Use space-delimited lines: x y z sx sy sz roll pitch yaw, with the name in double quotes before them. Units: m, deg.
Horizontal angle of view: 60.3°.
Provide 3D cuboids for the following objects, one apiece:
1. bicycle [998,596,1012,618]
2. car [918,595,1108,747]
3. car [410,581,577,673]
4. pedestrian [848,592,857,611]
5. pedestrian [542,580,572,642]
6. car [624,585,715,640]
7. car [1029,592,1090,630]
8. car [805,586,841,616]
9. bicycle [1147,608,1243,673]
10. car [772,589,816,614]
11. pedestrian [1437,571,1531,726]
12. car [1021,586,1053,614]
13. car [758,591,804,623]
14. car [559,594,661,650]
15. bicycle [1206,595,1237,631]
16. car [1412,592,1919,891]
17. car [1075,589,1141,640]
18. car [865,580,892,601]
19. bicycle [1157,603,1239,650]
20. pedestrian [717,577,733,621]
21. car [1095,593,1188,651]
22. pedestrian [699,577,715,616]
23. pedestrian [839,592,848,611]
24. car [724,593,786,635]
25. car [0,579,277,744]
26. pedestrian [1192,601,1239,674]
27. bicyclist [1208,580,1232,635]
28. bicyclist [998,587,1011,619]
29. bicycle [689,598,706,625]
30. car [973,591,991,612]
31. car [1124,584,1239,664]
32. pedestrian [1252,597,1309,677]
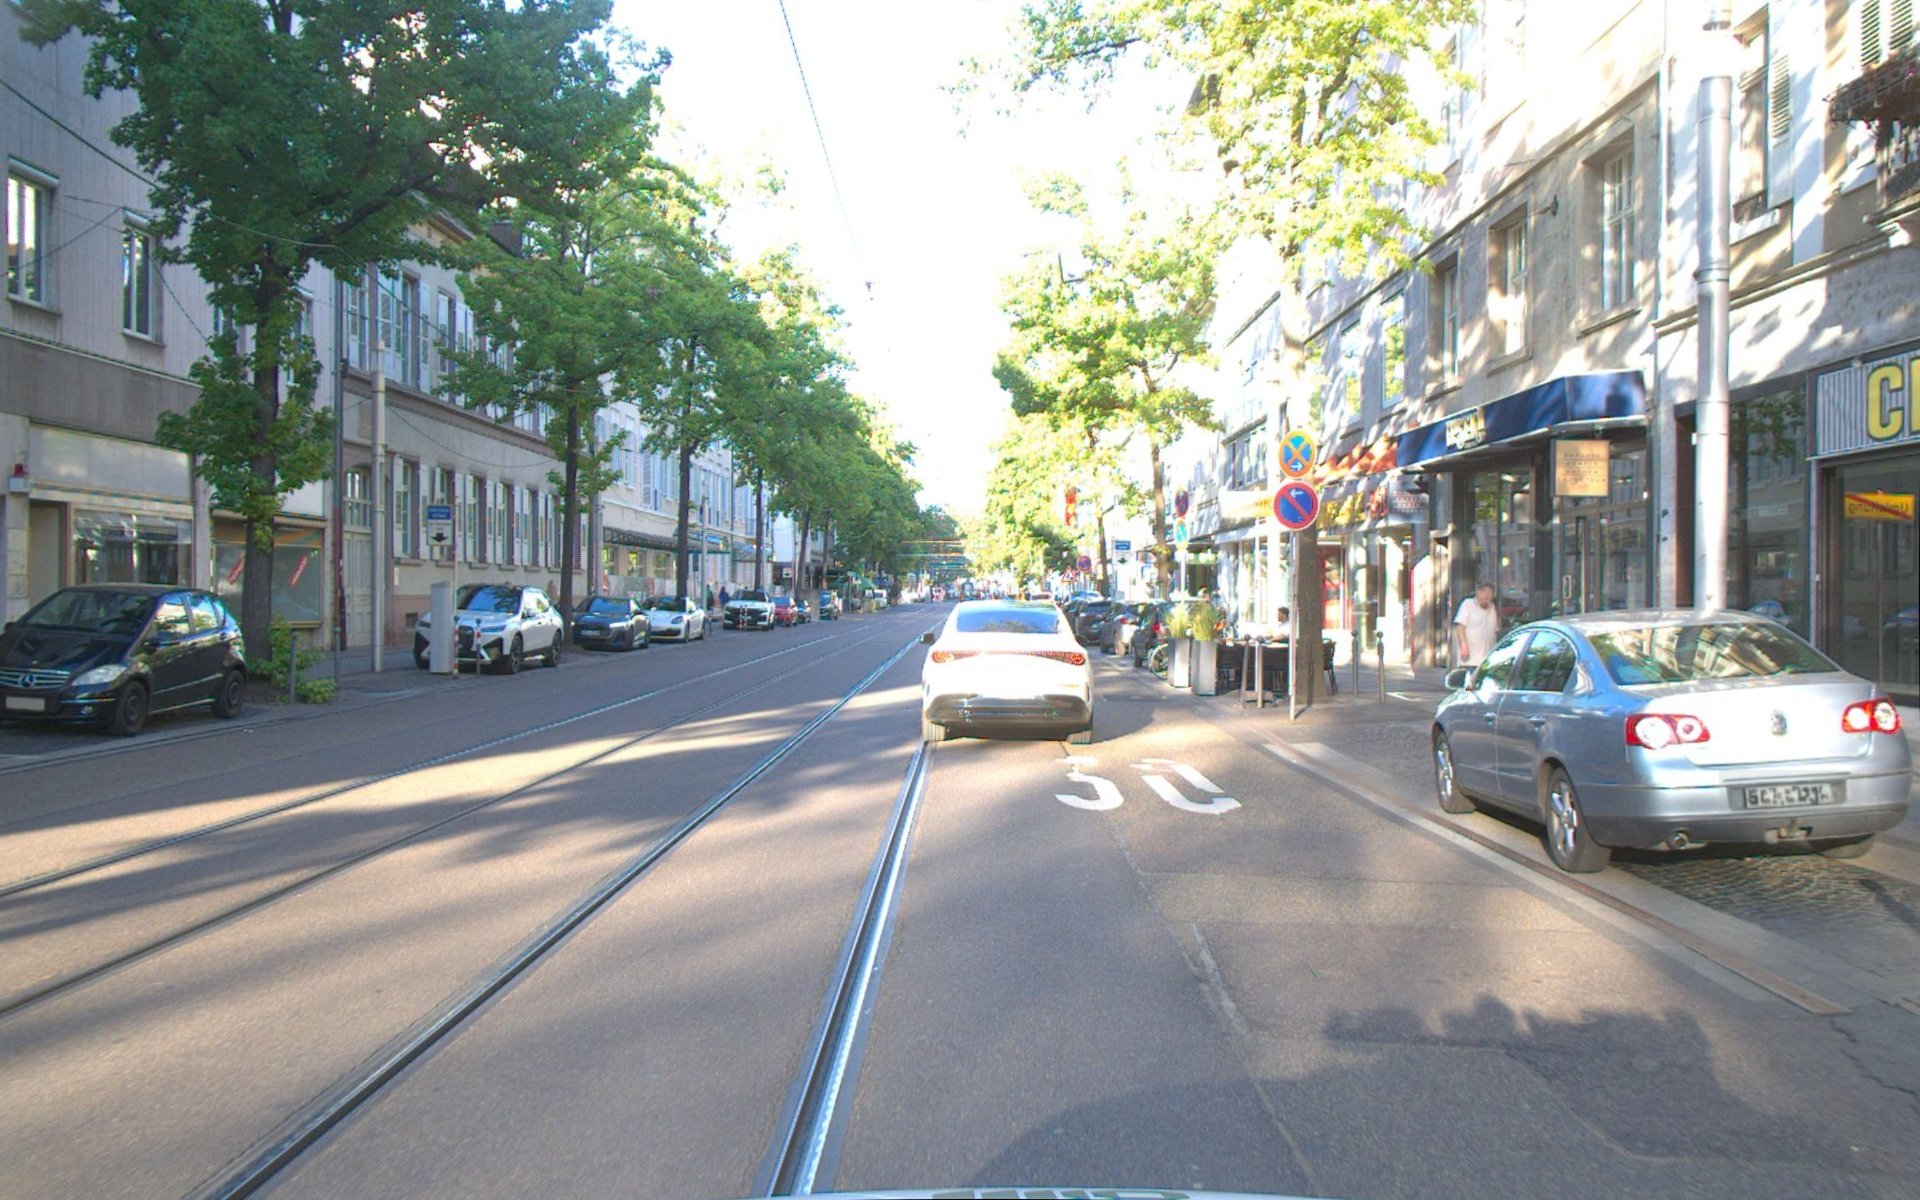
"bicycle" 2.477 0.400 91.132 0.725 1.209 2.160 0 0 1
"car" 0.471 0.696 18.328 1.830 1.494 4.040 0 0 -2
"car" -9.459 0.518 33.998 1.921 1.668 4.813 3 0 1
"pedestrian" -8.743 0.126 134.486 0.511 1.504 0.644 -2 -1 -27
"pedestrian" -11.473 0.316 47.093 0.672 1.751 0.656 1 0 1
"car" -9.296 0.371 53.278 1.906 1.668 4.910 1 0 2
"car" 3.906 0.404 65.406 1.802 1.461 3.995 0 0 -6
"car" -8.575 0.039 103.459 1.519 1.827 3.170 0 0 9
"bicycle" 4.474 0.771 31.471 1.690 1.158 0.547 -2 -1 21
"car" -9.075 0.076 90.533 1.952 1.315 4.000 0 0 0
"pedestrian" 5.814 0.520 18.378 0.786 1.672 0.756 -1 0 0
"car" 4.952 -0.028 107.060 1.952 1.758 4.241 0 0 1
"car" -8.794 0.327 81.560 1.653 1.525 4.235 0 0 2
"car" -9.512 0.563 45.324 1.922 1.437 4.844 0 0 -2
"bicycle" 8.108 0.391 51.357 0.634 1.093 1.861 -1 0 -1
"car" 4.433 0.746 10.824 1.739 1.465 4.423 -3 0 1
"car" 4.661 0.431 52.511 1.832 1.478 4.107 -2 0 2
"car" -8.126 -0.949 165.933 1.951 2.049 4.003 0 0 9
"bicycle" 5.762 0.643 40.085 1.821 1.093 0.711 -1 0 -9
"pedestrian" -11.107 -0.047 78.148 0.693 2.039 0.675 0 0 -6
"car" 4.848 0.569 44.710 1.779 1.512 3.996 0 0 -5
"pedestrian" -11.927 -0.163 78.095 0.693 1.838 0.675 0 0 -5
"pedestrian" -9.376 0.141 133.009 0.557 1.489 0.650 0 0 20
"car" -8.804 0.592 71.529 1.921 1.721 5.014 0 0 2
"car" -9.884 0.638 19.402 1.921 1.668 4.001 3 0 2
"pedestrian" 4.581 0.673 29.695 0.800 1.287 0.587 0 0 6
"bicyclist" 8.091 0.232 51.449 0.626 1.713 0.599 -1 0 -1
"bicyclist" 2.476 0.170 91.147 0.709 1.732 0.811 0 0 1
"bicycle" -10.411 0.444 65.708 0.582 1.068 2.006 0 0 -6
"car" 2.737 0.175 207.068 1.954 2.586 3.996 0 0 -4
"car" 4.681 0.487 35.486 1.764 1.483 3.653 -5 0 -2
"pedestrian" 5.737 0.649 29.623 0.702 1.411 0.737 0 0 -37
